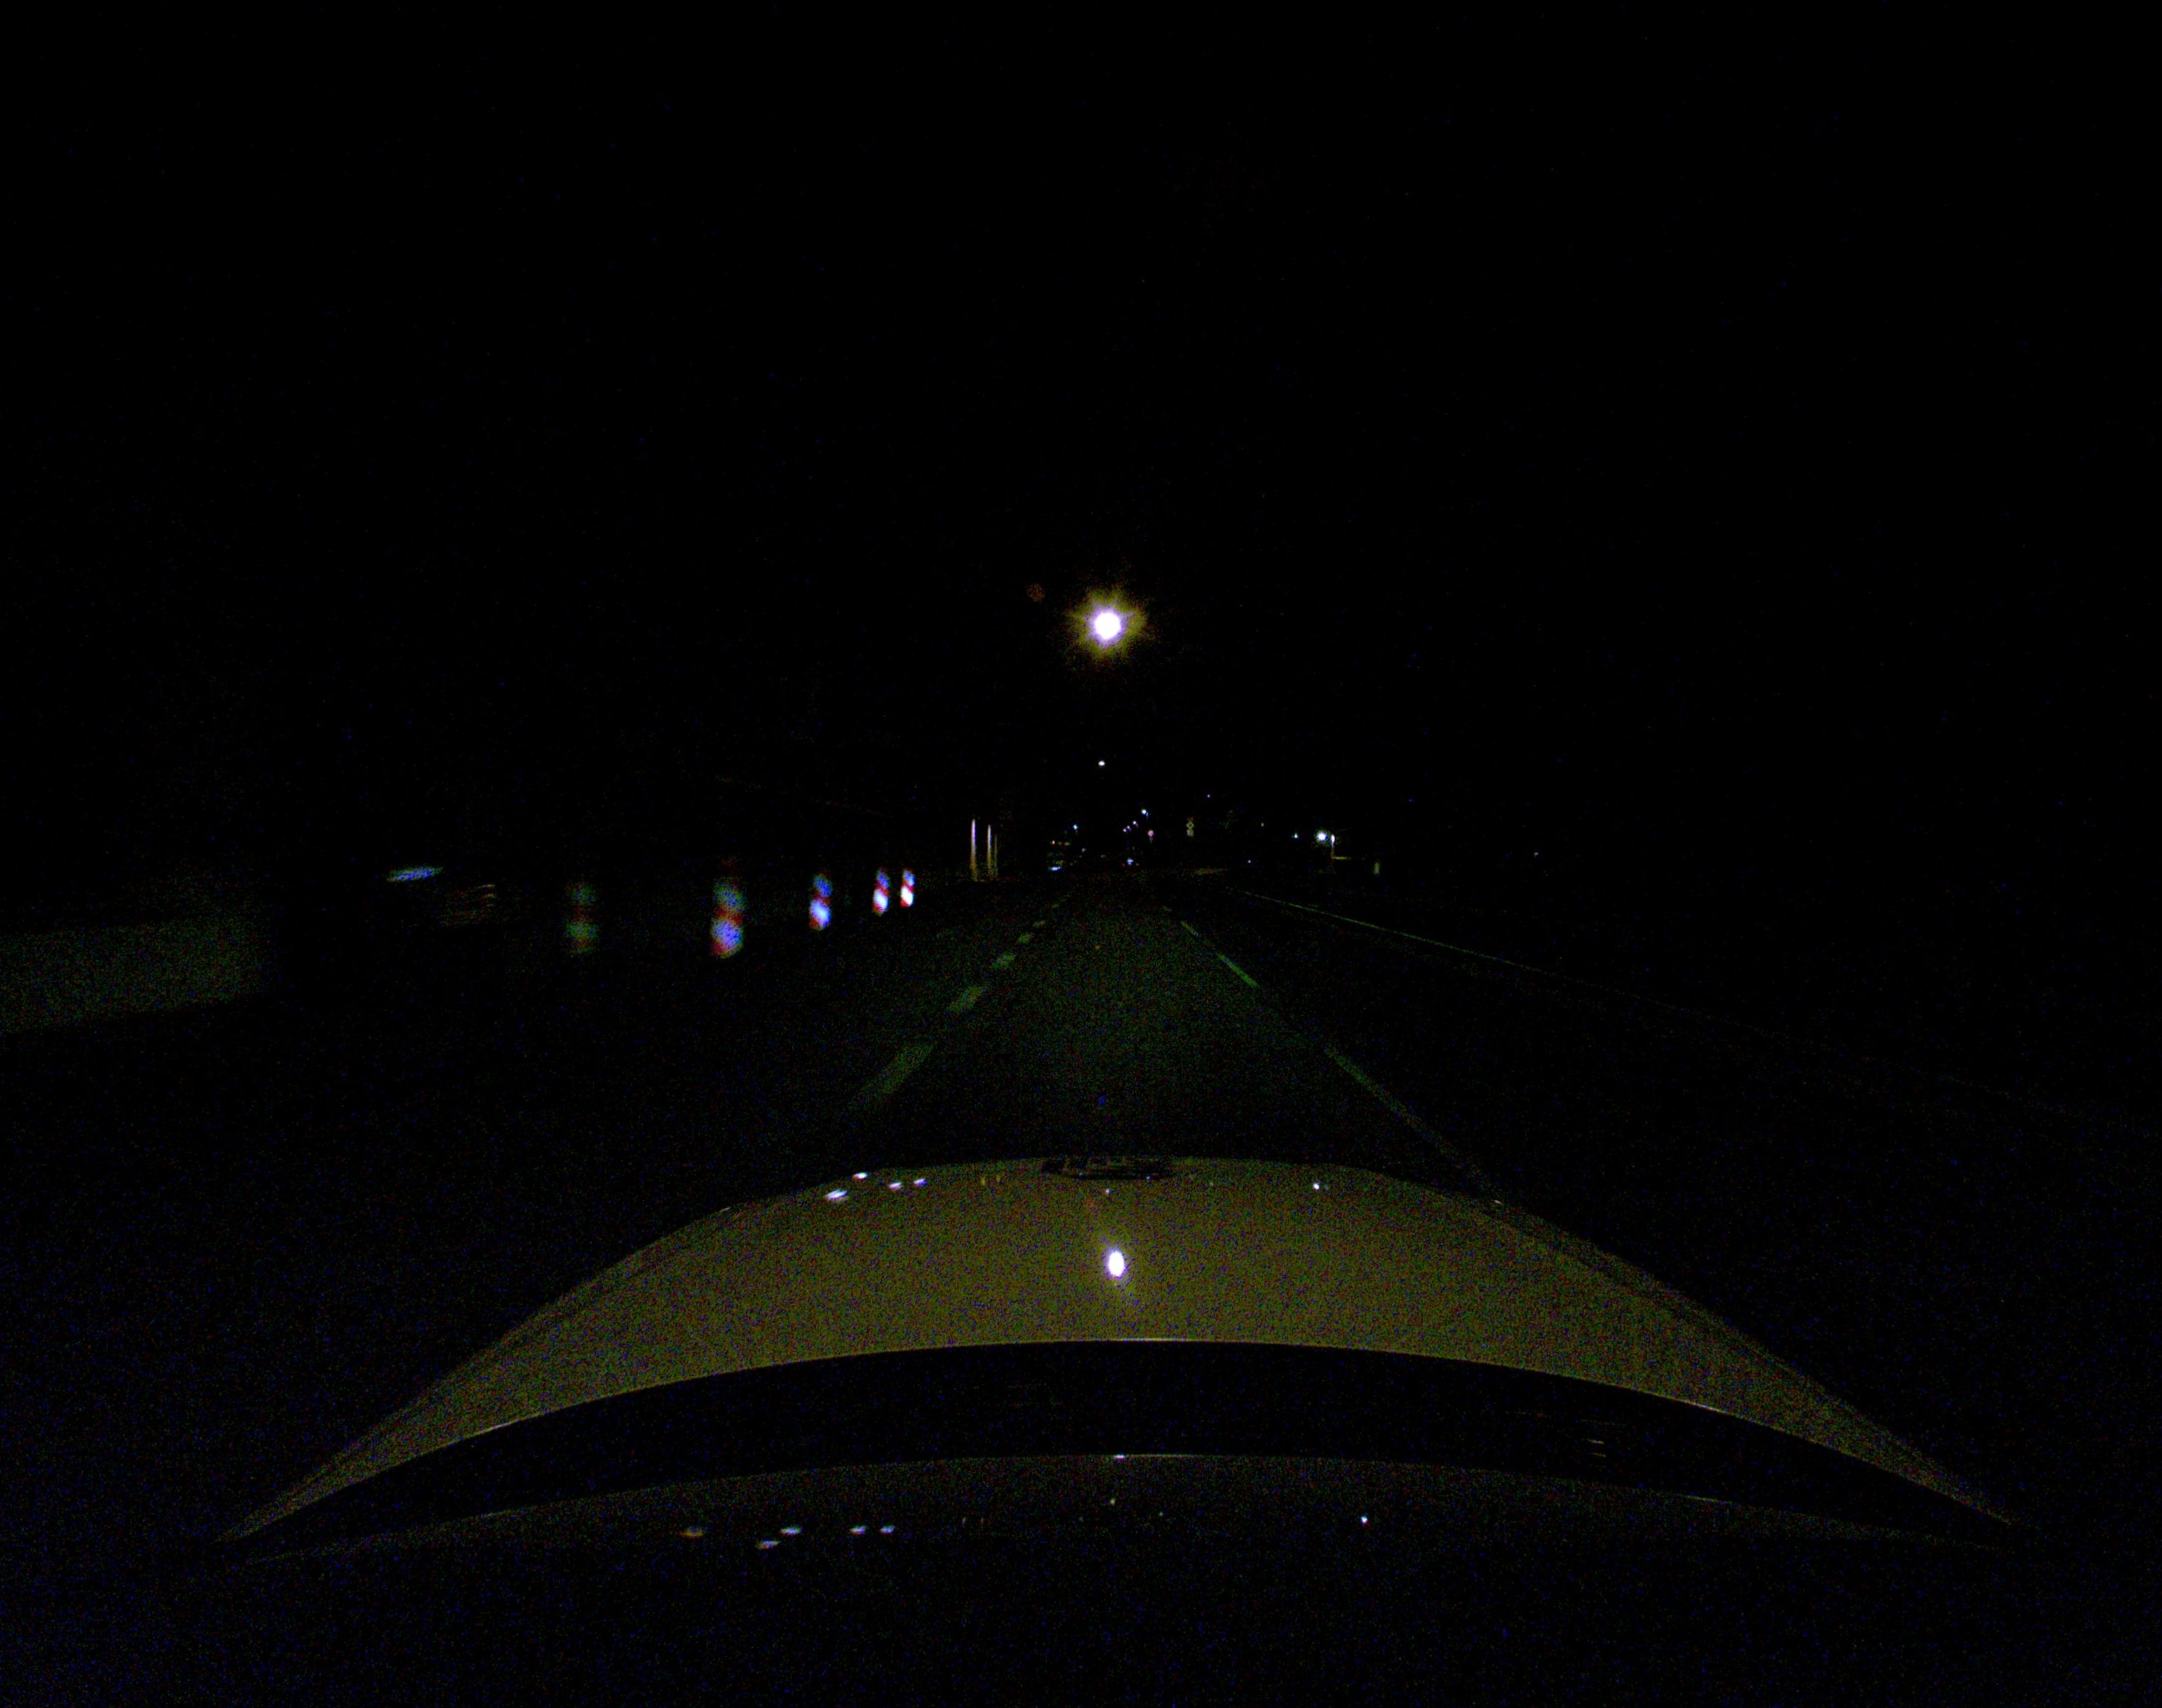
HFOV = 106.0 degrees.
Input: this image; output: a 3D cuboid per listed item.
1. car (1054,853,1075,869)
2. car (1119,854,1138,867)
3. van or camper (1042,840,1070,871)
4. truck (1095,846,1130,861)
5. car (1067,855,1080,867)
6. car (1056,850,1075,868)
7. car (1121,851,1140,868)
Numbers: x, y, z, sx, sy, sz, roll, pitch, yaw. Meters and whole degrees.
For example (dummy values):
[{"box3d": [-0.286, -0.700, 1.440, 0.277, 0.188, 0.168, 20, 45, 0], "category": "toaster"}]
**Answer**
[{"box3d": [-1.753, 0.731, 83.259, 1.836, 1.507, 4.733, -1, -1, -5], "category": "car"}, {"box3d": [5.151, 0.718, 88.002, 1.956, 1.383, 4.001, 0, -1, 2], "category": "car"}, {"box3d": [-2.161, 0.131, 72.299, 2.150, 2.536, 6.227, -2, -1, 1], "category": "van or camper"}, {"box3d": [6.101, -0.082, 160.180, 6.758, 2.844, 1.999, 1, 0, -2], "category": "truck"}, {"box3d": [-1.062, 0.955, 111.599, 1.671, 1.566, 4.106, 0, -1, 1], "category": "car"}, {"box3d": [-1.730, 0.562, 93.752, 1.986, 1.955, 4.807, 0, 0, 2], "category": "car"}, {"box3d": [5.021, 0.556, 82.564, 1.876, 1.603, 4.111, -1, -1, 3], "category": "car"}]
